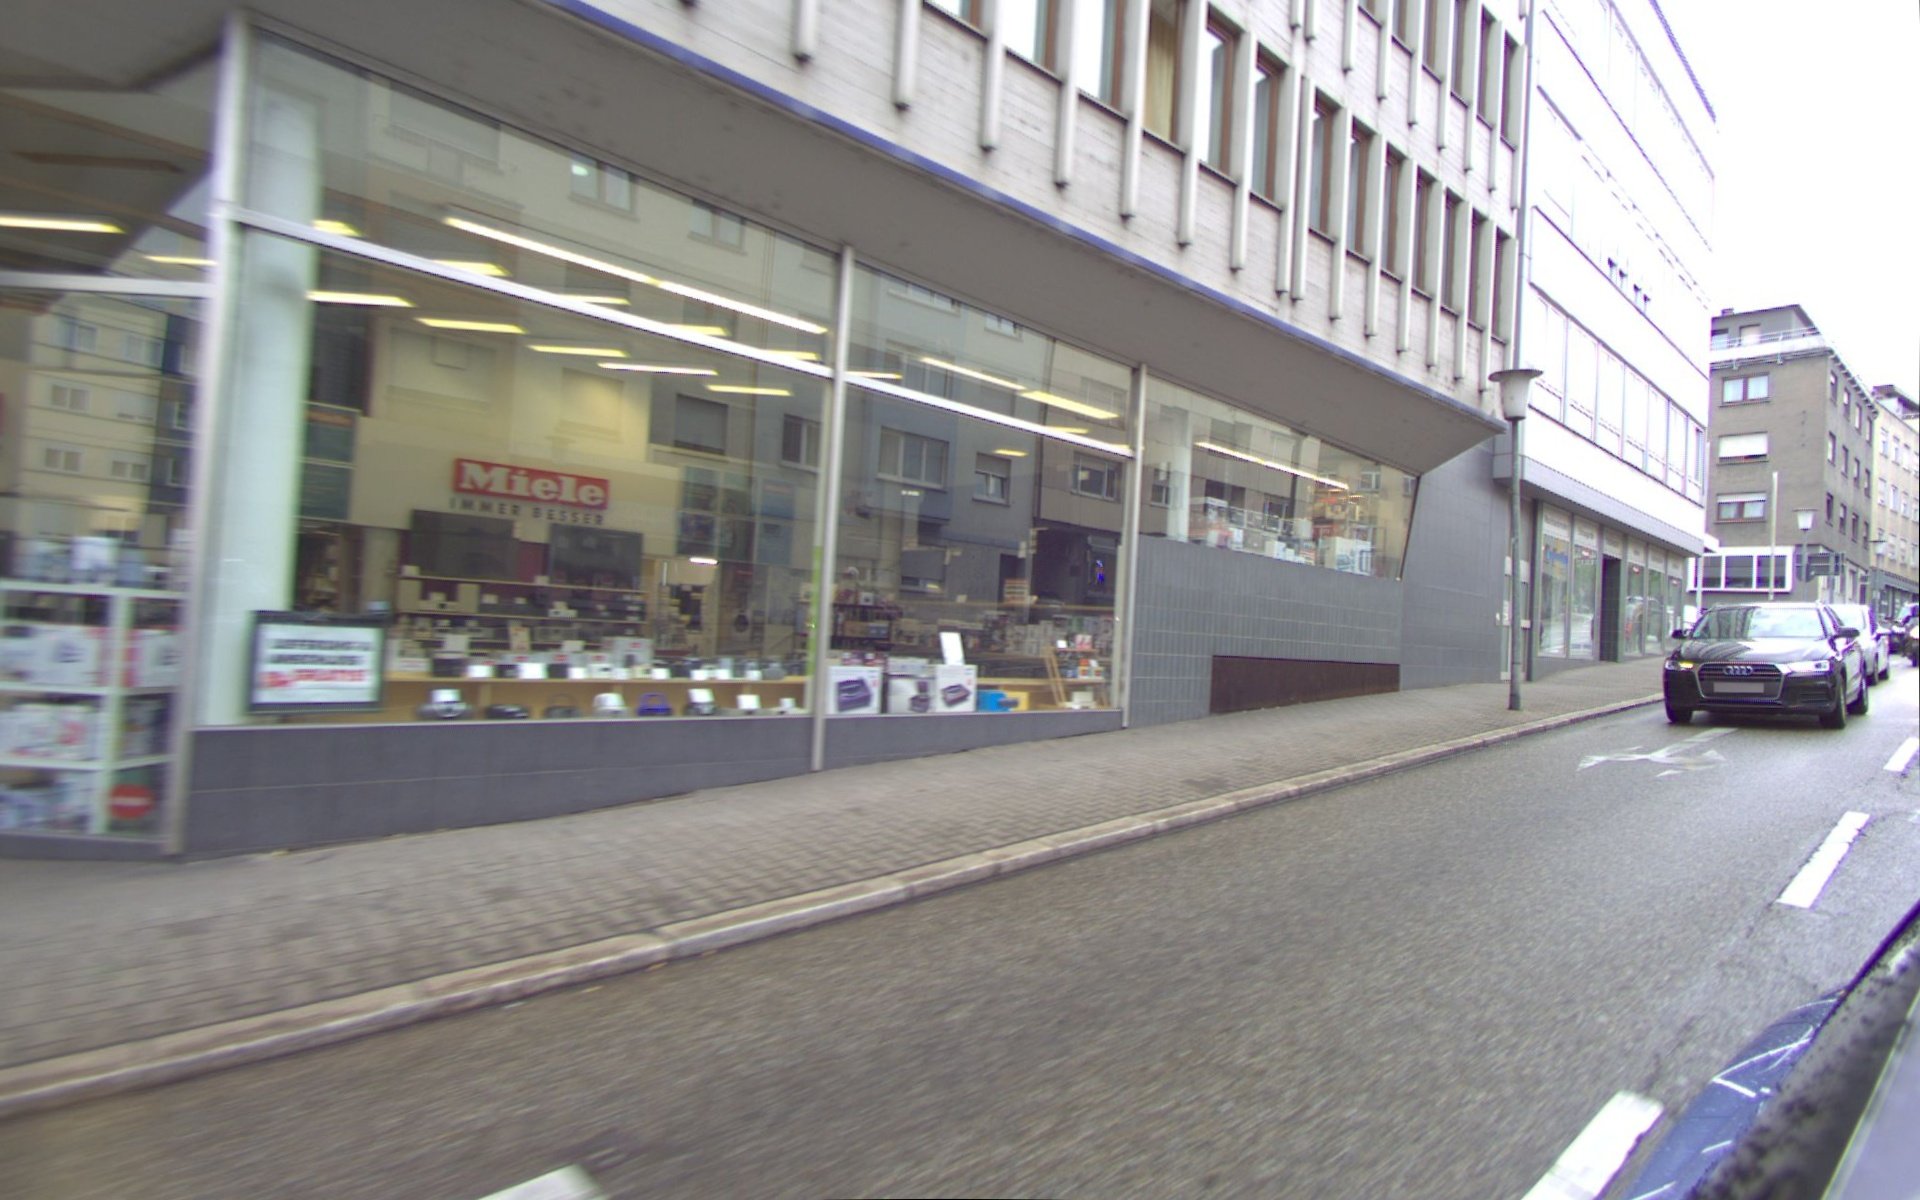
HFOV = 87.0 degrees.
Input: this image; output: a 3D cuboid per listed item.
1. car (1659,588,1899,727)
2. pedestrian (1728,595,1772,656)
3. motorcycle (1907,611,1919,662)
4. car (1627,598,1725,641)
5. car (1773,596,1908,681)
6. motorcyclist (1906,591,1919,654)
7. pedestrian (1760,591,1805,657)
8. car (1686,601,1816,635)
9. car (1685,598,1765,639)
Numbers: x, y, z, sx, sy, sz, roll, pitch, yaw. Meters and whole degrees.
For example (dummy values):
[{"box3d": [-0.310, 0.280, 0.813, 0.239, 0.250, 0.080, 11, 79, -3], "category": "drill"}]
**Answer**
[{"box3d": [11.062, 0.671, 13.574, 4.129, 1.580, 1.825, 0, -2, -42], "category": "car"}, {"box3d": [21.285, 0.662, 27.258, 0.766, 1.570, 0.876, 4, 3, 44], "category": "pedestrian"}, {"box3d": [24.878, 0.914, 25.910, 0.844, 1.242, 2.337, -3, -2, 42], "category": "motorcycle"}, {"box3d": [26.118, 0.689, 36.867, 4.533, 1.433, 1.792, 1, 1, -40], "category": "car"}, {"box3d": [18.067, 0.751, 20.694, 1.826, 1.561, 4.184, -4, -3, 44], "category": "car"}, {"box3d": [24.794, 0.566, 25.854, 0.844, 1.610, 0.948, -3, -2, 42], "category": "motorcyclist"}, {"box3d": [22.581, 0.649, 27.783, 0.784, 1.726, 1.103, 4, 3, 44], "category": "pedestrian"}, {"box3d": [37.661, 0.863, 48.289, 1.963, 1.523, 4.531, 1, -1, -38], "category": "car"}, {"box3d": [31.173, 0.731, 41.190, 4.361, 1.531, 1.791, 0, 0, -42], "category": "car"}]
